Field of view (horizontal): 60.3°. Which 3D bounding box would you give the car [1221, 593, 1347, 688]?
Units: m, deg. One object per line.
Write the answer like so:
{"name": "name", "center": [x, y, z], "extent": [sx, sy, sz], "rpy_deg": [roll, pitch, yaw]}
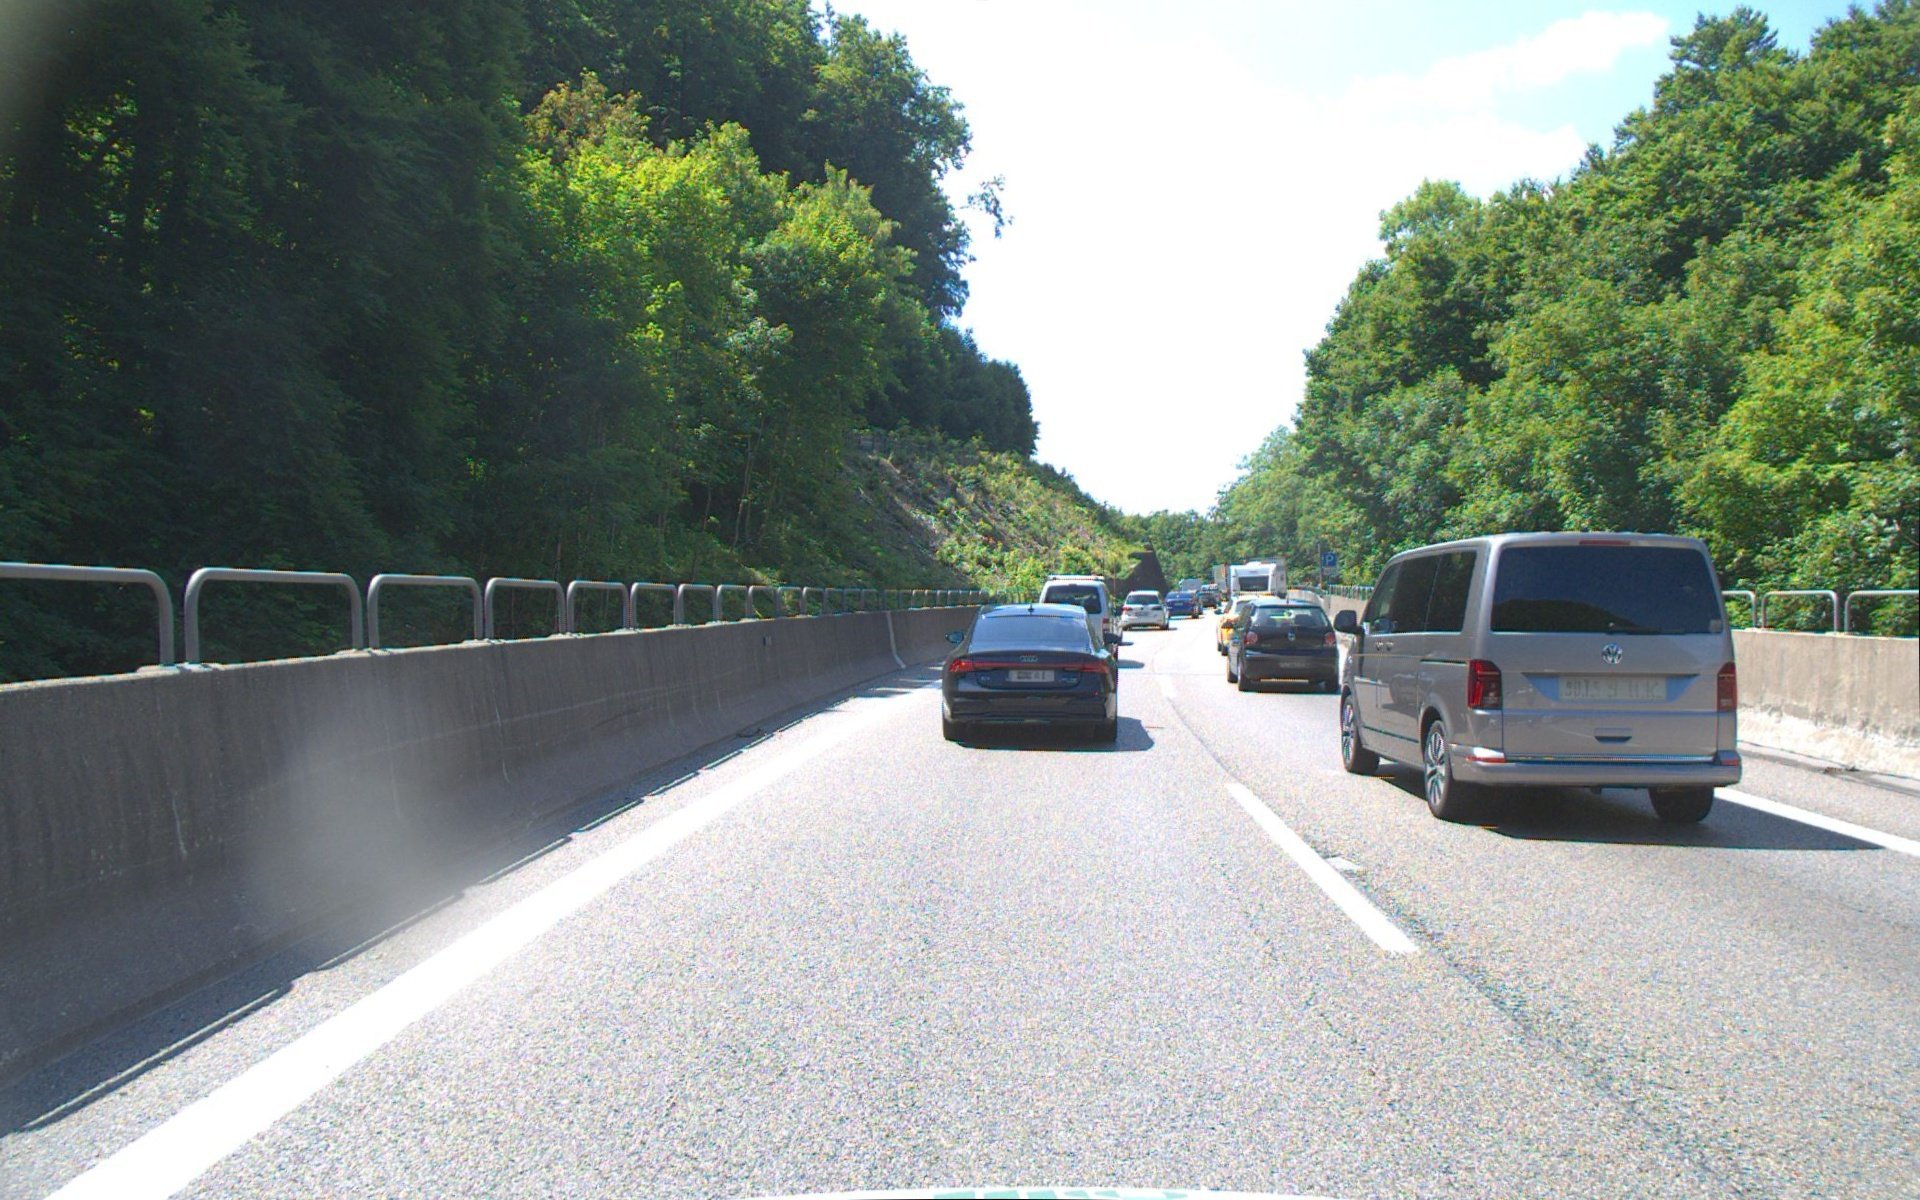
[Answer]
{"name": "car", "center": [5.377, 0.633, 27.839], "extent": [1.649, 1.484, 4.002], "rpy_deg": [0, 0, 5]}

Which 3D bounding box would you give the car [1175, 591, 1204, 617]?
{"name": "car", "center": [14.396, 0.237, 103.672], "extent": [1.713, 1.598, 3.774], "rpy_deg": [0, 0, 9]}

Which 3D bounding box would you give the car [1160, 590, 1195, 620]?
{"name": "car", "center": [11.704, 0.250, 88.909], "extent": [1.713, 1.598, 3.774], "rpy_deg": [0, 0, 10]}

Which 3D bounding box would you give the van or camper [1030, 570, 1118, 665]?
{"name": "van or camper", "center": [2.507, 0.359, 36.418], "extent": [1.814, 1.976, 4.167], "rpy_deg": [0, 0, 4]}

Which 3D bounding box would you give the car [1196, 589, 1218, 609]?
{"name": "car", "center": [20.149, -0.100, 134.850], "extent": [1.713, 1.598, 3.774], "rpy_deg": [0, 0, 9]}

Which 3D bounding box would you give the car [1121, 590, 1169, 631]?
{"name": "car", "center": [7.533, 0.414, 67.391], "extent": [1.855, 1.612, 3.774], "rpy_deg": [0, 0, 6]}

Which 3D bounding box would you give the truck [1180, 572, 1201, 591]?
{"name": "truck", "center": [24.970, -1.957, 179.394], "extent": [1.952, 2.049, 4.002], "rpy_deg": [0, 0, 3]}

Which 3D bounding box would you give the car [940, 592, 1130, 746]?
{"name": "car", "center": [0.820, 0.678, 18.548], "extent": [1.865, 1.515, 4.380], "rpy_deg": [0, 0, 2]}

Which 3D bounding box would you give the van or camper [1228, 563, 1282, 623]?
{"name": "van or camper", "center": [14.914, -0.360, 83.366], "extent": [2.548, 2.905, 6.341], "rpy_deg": [0, 0, 11]}

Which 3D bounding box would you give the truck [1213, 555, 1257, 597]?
{"name": "truck", "center": [30.131, -2.575, 181.426], "extent": [3.634, 4.583, 7.724], "rpy_deg": [0, 0, 0]}

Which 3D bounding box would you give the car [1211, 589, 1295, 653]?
{"name": "car", "center": [7.272, 0.494, 41.404], "extent": [1.770, 1.503, 4.084], "rpy_deg": [0, 0, 6]}

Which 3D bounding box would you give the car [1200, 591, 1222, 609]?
{"name": "car", "center": [22.707, -0.004, 149.684], "extent": [1.714, 1.598, 3.773], "rpy_deg": [0, 0, 5]}

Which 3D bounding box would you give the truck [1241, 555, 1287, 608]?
{"name": "truck", "center": [22.118, -1.339, 120.714], "extent": [2.863, 3.752, 7.730], "rpy_deg": [0, 0, 7]}

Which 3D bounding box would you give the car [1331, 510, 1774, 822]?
{"name": "car", "center": [4.282, 0.416, 12.845], "extent": [1.900, 1.965, 4.695], "rpy_deg": [0, 0, 2]}
